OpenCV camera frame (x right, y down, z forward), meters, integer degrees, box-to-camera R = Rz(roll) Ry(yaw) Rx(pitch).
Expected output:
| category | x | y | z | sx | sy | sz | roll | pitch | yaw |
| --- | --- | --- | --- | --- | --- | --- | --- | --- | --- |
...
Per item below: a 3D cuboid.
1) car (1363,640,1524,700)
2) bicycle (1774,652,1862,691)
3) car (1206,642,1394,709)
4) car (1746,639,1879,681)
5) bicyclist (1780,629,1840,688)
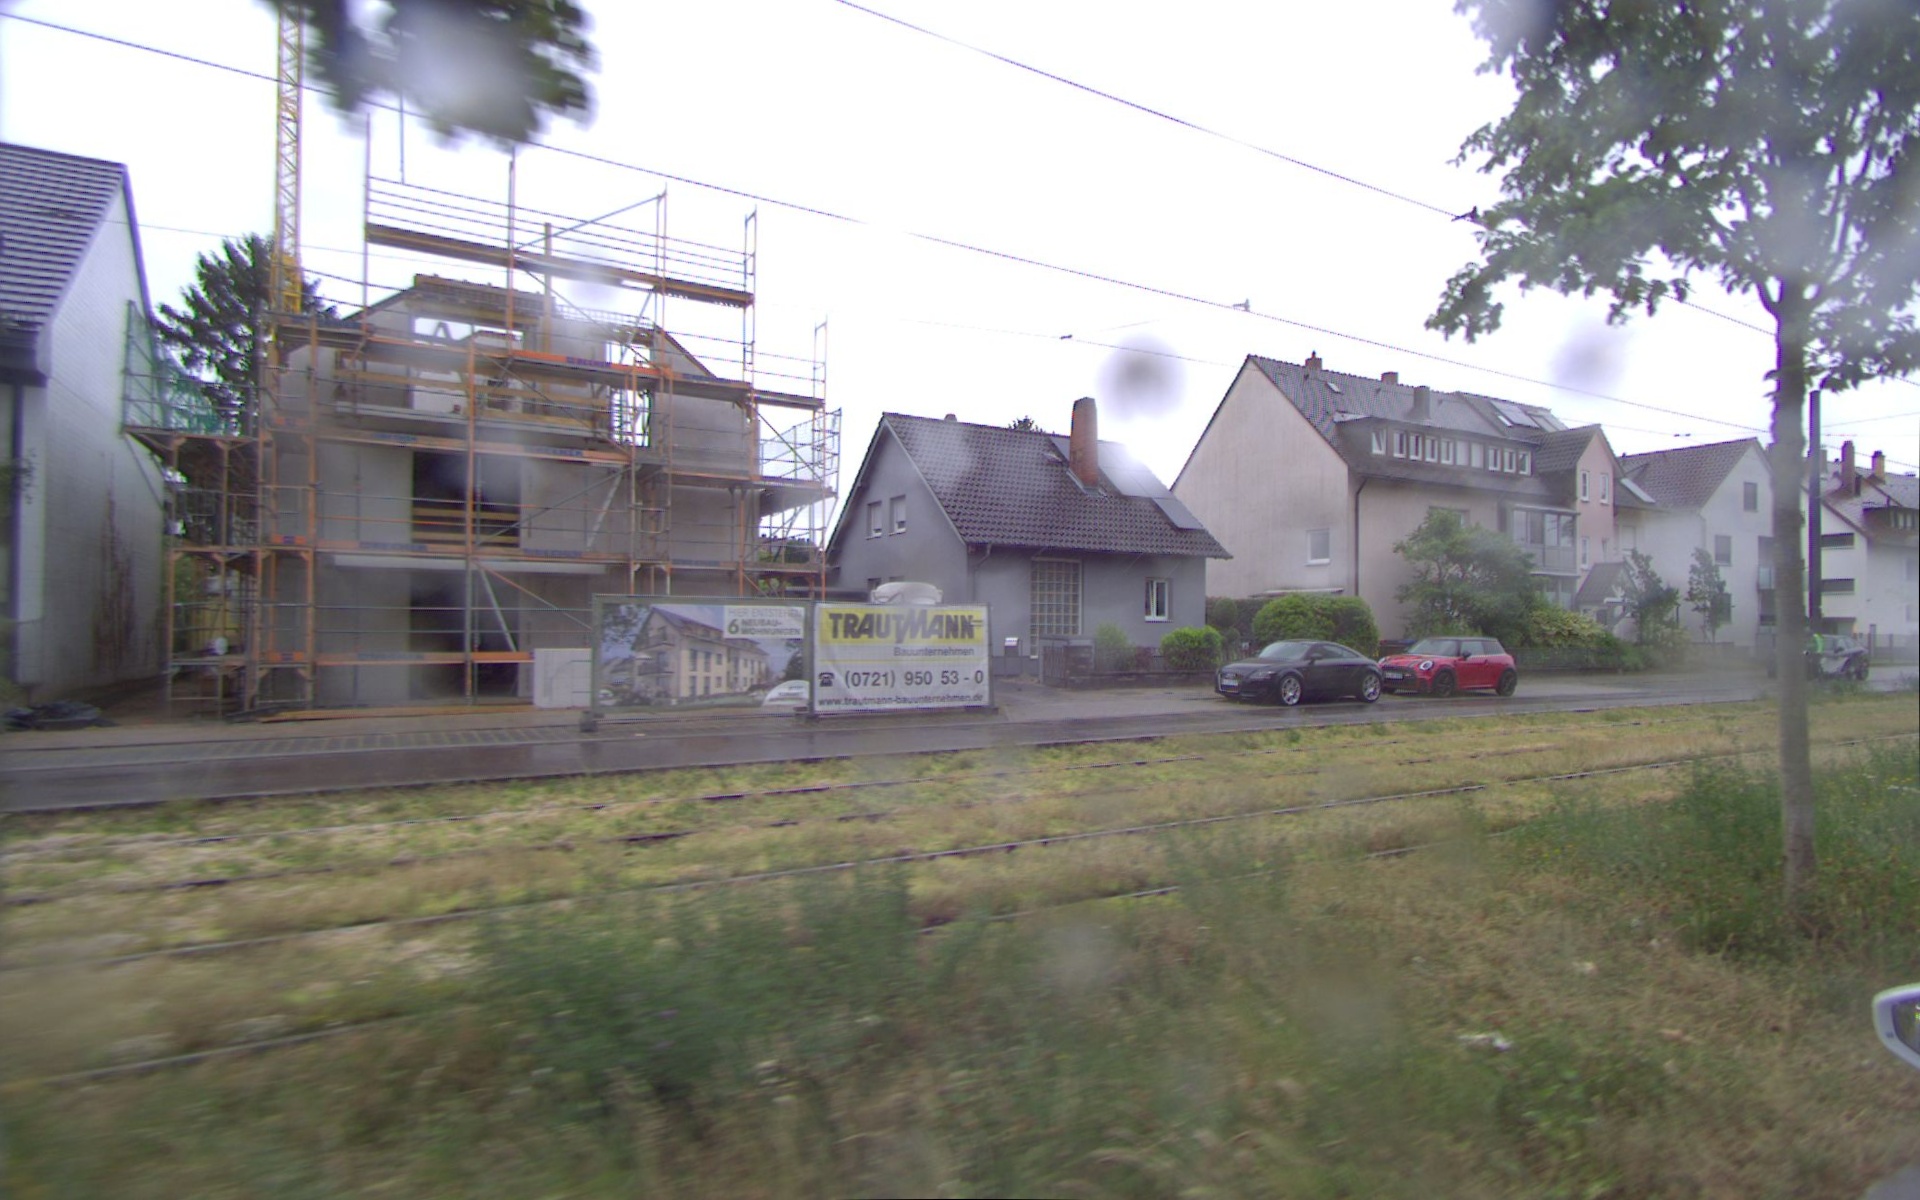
| category | x | y | z | sx | sy | sz | roll | pitch | yaw |
| --- | --- | --- | --- | --- | --- | --- | --- | --- | --- |
| car | 11.832 | 1.657 | 24.554 | 3.808 | 1.261 | 1.667 | 1 | 0 | -30 |
| bicycle | 25.406 | 2.093 | 29.732 | 3.159 | 1.041 | 1.013 | 1 | -2 | -30 |
| car | 7.445 | 1.587 | 21.902 | 4.023 | 1.261 | 1.655 | 1 | 0 | -30 |
| car | 29.552 | 2.037 | 34.811 | 4.627 | 1.261 | 1.889 | 1 | 0 | -27 |
| bicyclist | 24.889 | 1.691 | 29.412 | 1.079 | 1.707 | 1.014 | 1 | -2 | -30 |
